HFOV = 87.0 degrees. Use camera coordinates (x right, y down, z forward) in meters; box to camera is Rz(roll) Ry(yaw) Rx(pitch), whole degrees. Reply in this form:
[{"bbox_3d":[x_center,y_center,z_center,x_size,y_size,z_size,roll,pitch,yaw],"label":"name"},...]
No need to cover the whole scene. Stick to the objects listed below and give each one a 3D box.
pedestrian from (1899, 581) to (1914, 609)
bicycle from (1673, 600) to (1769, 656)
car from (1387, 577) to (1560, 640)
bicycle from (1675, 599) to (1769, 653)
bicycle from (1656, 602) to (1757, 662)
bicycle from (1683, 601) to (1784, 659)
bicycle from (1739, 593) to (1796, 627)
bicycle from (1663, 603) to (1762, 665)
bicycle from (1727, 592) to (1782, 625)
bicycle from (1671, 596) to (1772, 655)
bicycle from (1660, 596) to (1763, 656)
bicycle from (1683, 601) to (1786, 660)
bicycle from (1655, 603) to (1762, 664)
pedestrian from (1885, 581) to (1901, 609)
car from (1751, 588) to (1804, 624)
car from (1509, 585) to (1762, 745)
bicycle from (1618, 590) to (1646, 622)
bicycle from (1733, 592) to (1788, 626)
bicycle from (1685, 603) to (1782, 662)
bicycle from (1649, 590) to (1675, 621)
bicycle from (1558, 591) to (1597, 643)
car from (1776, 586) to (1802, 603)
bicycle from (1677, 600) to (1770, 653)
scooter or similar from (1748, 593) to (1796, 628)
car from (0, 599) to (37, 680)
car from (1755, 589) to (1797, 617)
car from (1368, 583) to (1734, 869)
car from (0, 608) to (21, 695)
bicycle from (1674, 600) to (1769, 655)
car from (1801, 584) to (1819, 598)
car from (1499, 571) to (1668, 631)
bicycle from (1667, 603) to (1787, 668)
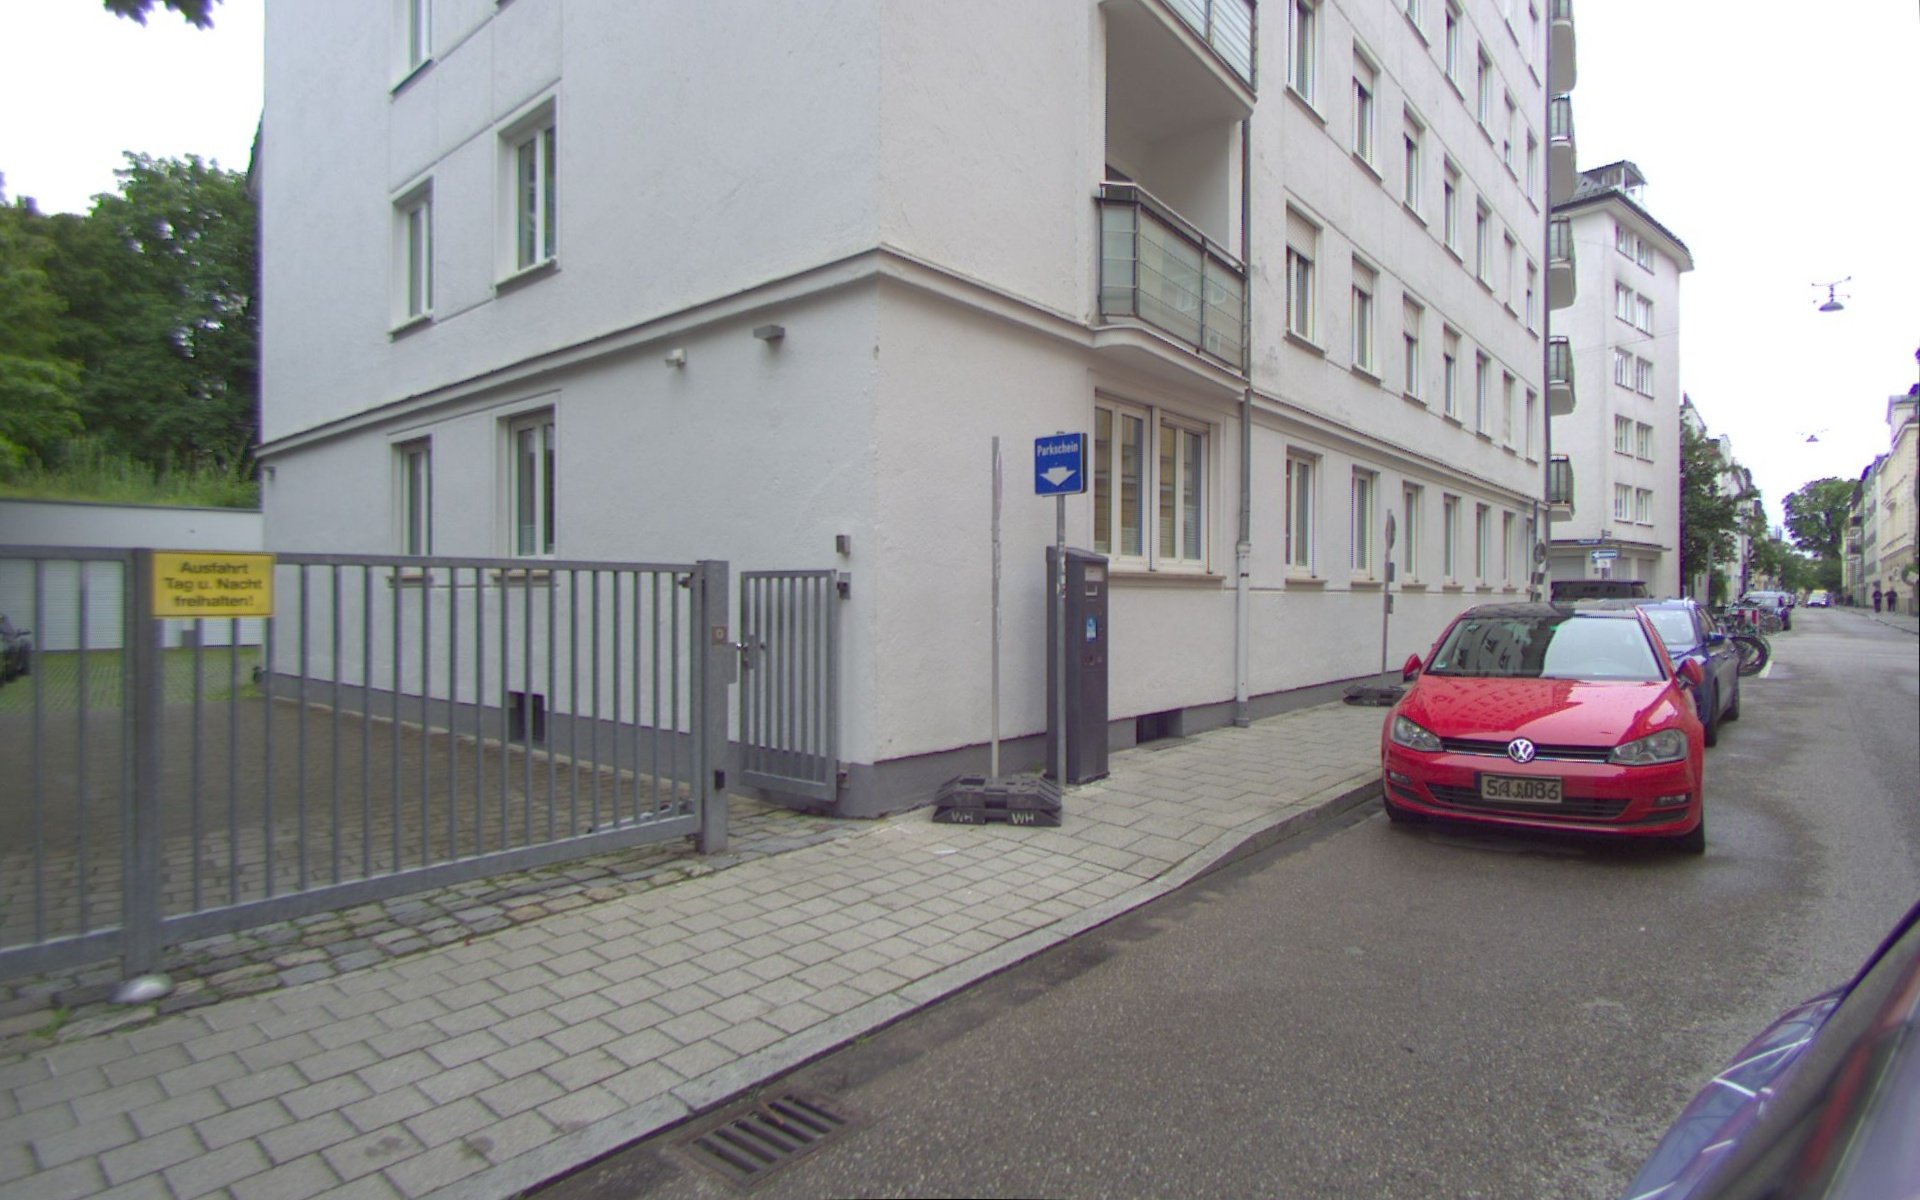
[{"bbox_3d":[60.932,-0.324,65.153,0.697,1.816,0.752,0,0,41],"label":"pedestrian"},{"bbox_3d":[16.889,0.603,22.480,1.693,1.175,0.373,1,0,40],"label":"bicycle"},{"bbox_3d":[16.442,0.217,32.589,1.900,1.896,4.614,0,1,-41],"label":"car"},{"bbox_3d":[17.319,0.580,23.018,1.693,1.175,0.309,1,0,40],"label":"bicycle"},{"bbox_3d":[14.707,0.609,19.968,0.354,1.056,1.520,0,3,-41],"label":"bicycle"},{"bbox_3d":[16.468,0.613,21.577,1.693,1.175,0.373,1,0,40],"label":"bicycle"},{"bbox_3d":[29.912,0.345,37.484,1.604,1.229,0.521,1,1,44],"label":"bicycle"},{"bbox_3d":[14.236,0.624,19.185,0.324,1.056,1.439,0,3,-41],"label":"bicycle"},{"bbox_3d":[30.304,0.322,38.628,1.604,1.229,0.521,1,1,44],"label":"bicycle"},{"bbox_3d":[15.797,0.513,21.020,1.660,1.175,0.373,1,0,40],"label":"bicycle"},{"bbox_3d":[15.428,0.521,20.805,1.693,1.175,0.373,1,0,40],"label":"bicycle"},{"bbox_3d":[16.245,0.619,21.250,1.693,1.175,0.373,1,0,40],"label":"bicycle"},{"bbox_3d":[14.401,0.619,19.514,0.317,1.056,1.591,0,3,-40],"label":"bicycle"},{"bbox_3d":[60.424,-0.324,65.528,0.723,1.816,0.817,0,0,41],"label":"pedestrian"},{"bbox_3d":[34.109,0.201,42.187,1.648,1.416,3.942,1,1,40],"label":"car"},{"bbox_3d":[7.768,0.590,11.456,1.793,1.457,4.317,-2,-1,41],"label":"car"},{"bbox_3d":[25.931,0.217,39.050,1.582,1.229,0.528,0,1,-42],"label":"bicycle"},{"bbox_3d":[30.099,0.334,38.069,1.604,1.229,0.521,1,1,44],"label":"bicycle"},{"bbox_3d":[15.227,0.620,19.954,0.354,1.056,1.441,0,3,-41],"label":"bicycle"},{"bbox_3d":[28.892,0.208,41.647,1.582,1.229,0.528,0,1,-42],"label":"bicycle"},{"bbox_3d":[15.514,0.406,25.443,0.393,1.219,1.499,2,2,15],"label":"bicycle"},{"bbox_3d":[70.958,-0.502,86.595,1.648,1.416,3.942,1,1,40],"label":"car"},{"bbox_3d":[17.584,0.594,23.317,1.693,1.175,0.412,1,0,40],"label":"bicycle"},{"bbox_3d":[29.126,0.365,36.303,1.337,1.229,0.339,1,1,44],"label":"scooter or similar"},{"bbox_3d":[-18.720,0.706,19.101,1.673,1.448,3.995,0,0,-39],"label":"car"},{"bbox_3d":[43.254,0.109,53.636,1.648,1.416,3.942,1,1,40],"label":"car"},{"bbox_3d":[4.434,0.649,7.467,1.754,1.465,4.245,-2,-1,34],"label":"car"},{"bbox_3d":[-15.497,0.762,15.294,1.666,1.250,3.995,0,0,-39],"label":"car"},{"bbox_3d":[17.116,0.604,22.763,1.693,1.175,0.309,1,0,40],"label":"bicycle"},{"bbox_3d":[125.049,-1.312,148.936,1.991,2.039,4.580,0,0,40],"label":"car"},{"bbox_3d":[21.556,0.005,35.139,1.900,1.915,4.676,1,0,-41],"label":"car"},{"bbox_3d":[14.126,0.636,18.669,1.702,1.056,0.354,3,3,42],"label":"bicycle"}]
